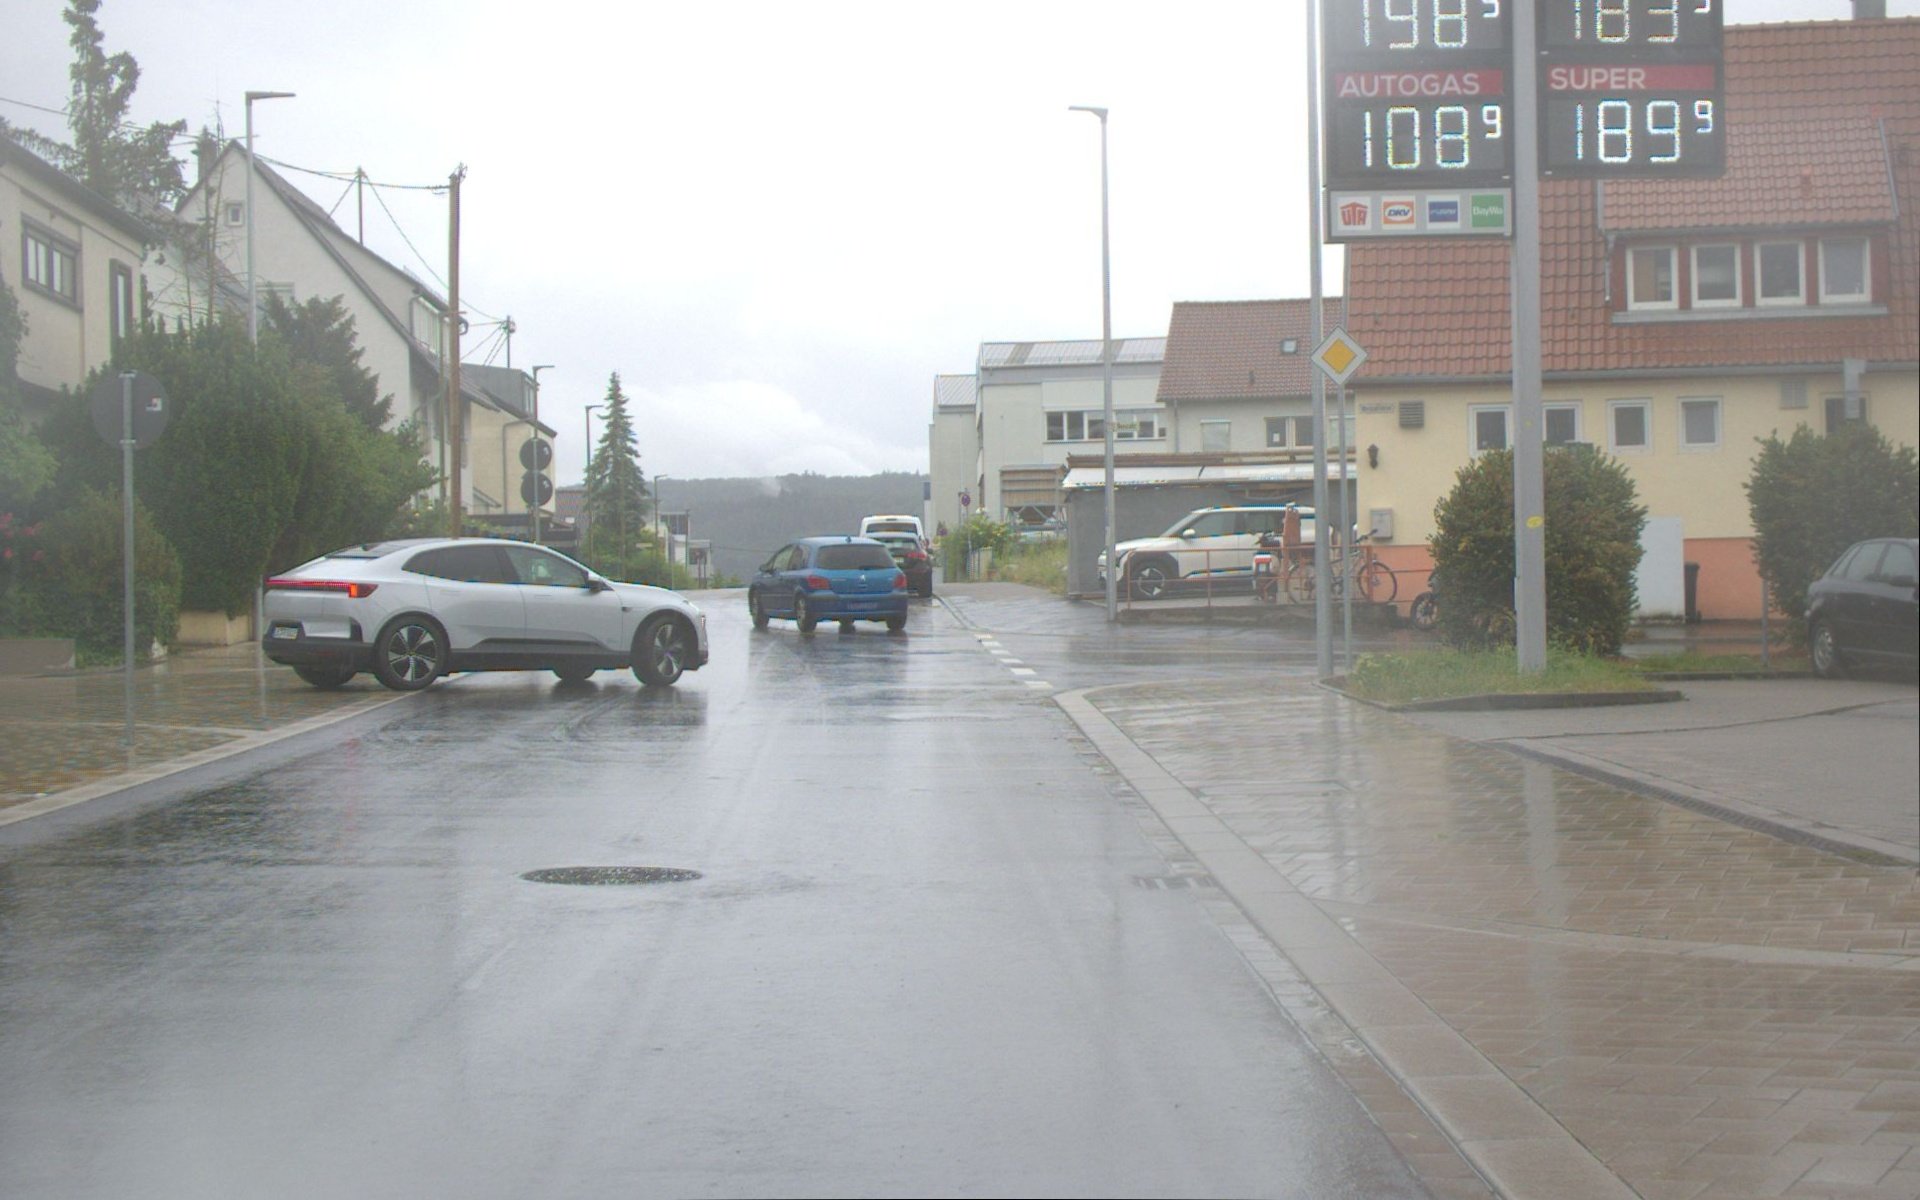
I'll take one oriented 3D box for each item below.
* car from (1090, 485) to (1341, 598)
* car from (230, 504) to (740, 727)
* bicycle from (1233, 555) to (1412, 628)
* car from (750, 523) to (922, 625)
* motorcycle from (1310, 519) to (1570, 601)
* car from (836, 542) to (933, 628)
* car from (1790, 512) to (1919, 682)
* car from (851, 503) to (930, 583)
[{"bbox_3d":[4.469,-1.012,60.543,4.112,1.700,1.789,3,-1,-3],"label":"car"},{"bbox_3d":[-4.874,0.183,35.604,4.753,2.007,2.000,4,-2,-35],"label":"car"},{"bbox_3d":[5.651,-0.147,53.933,0.668,1.063,3.629,4,-1,-32],"label":"bicycle"},{"bbox_3d":[-2.056,-0.396,55.811,1.851,1.488,4.001,3,-1,-15],"label":"car"},{"bbox_3d":[7.763,-0.650,55.713,3.993,1.149,1.092,2,-1,27],"label":"motorcycle"},{"bbox_3d":[-1.658,-0.304,76.313,1.993,1.700,4.000,3,-1,-1],"label":"car"},{"bbox_3d":[9.726,0.012,32.619,1.993,1.547,4.001,3,-1,-12],"label":"car"},{"bbox_3d":[-1.659,-1.352,83.063,1.783,1.700,4.000,3,-1,-1],"label":"car"}]
